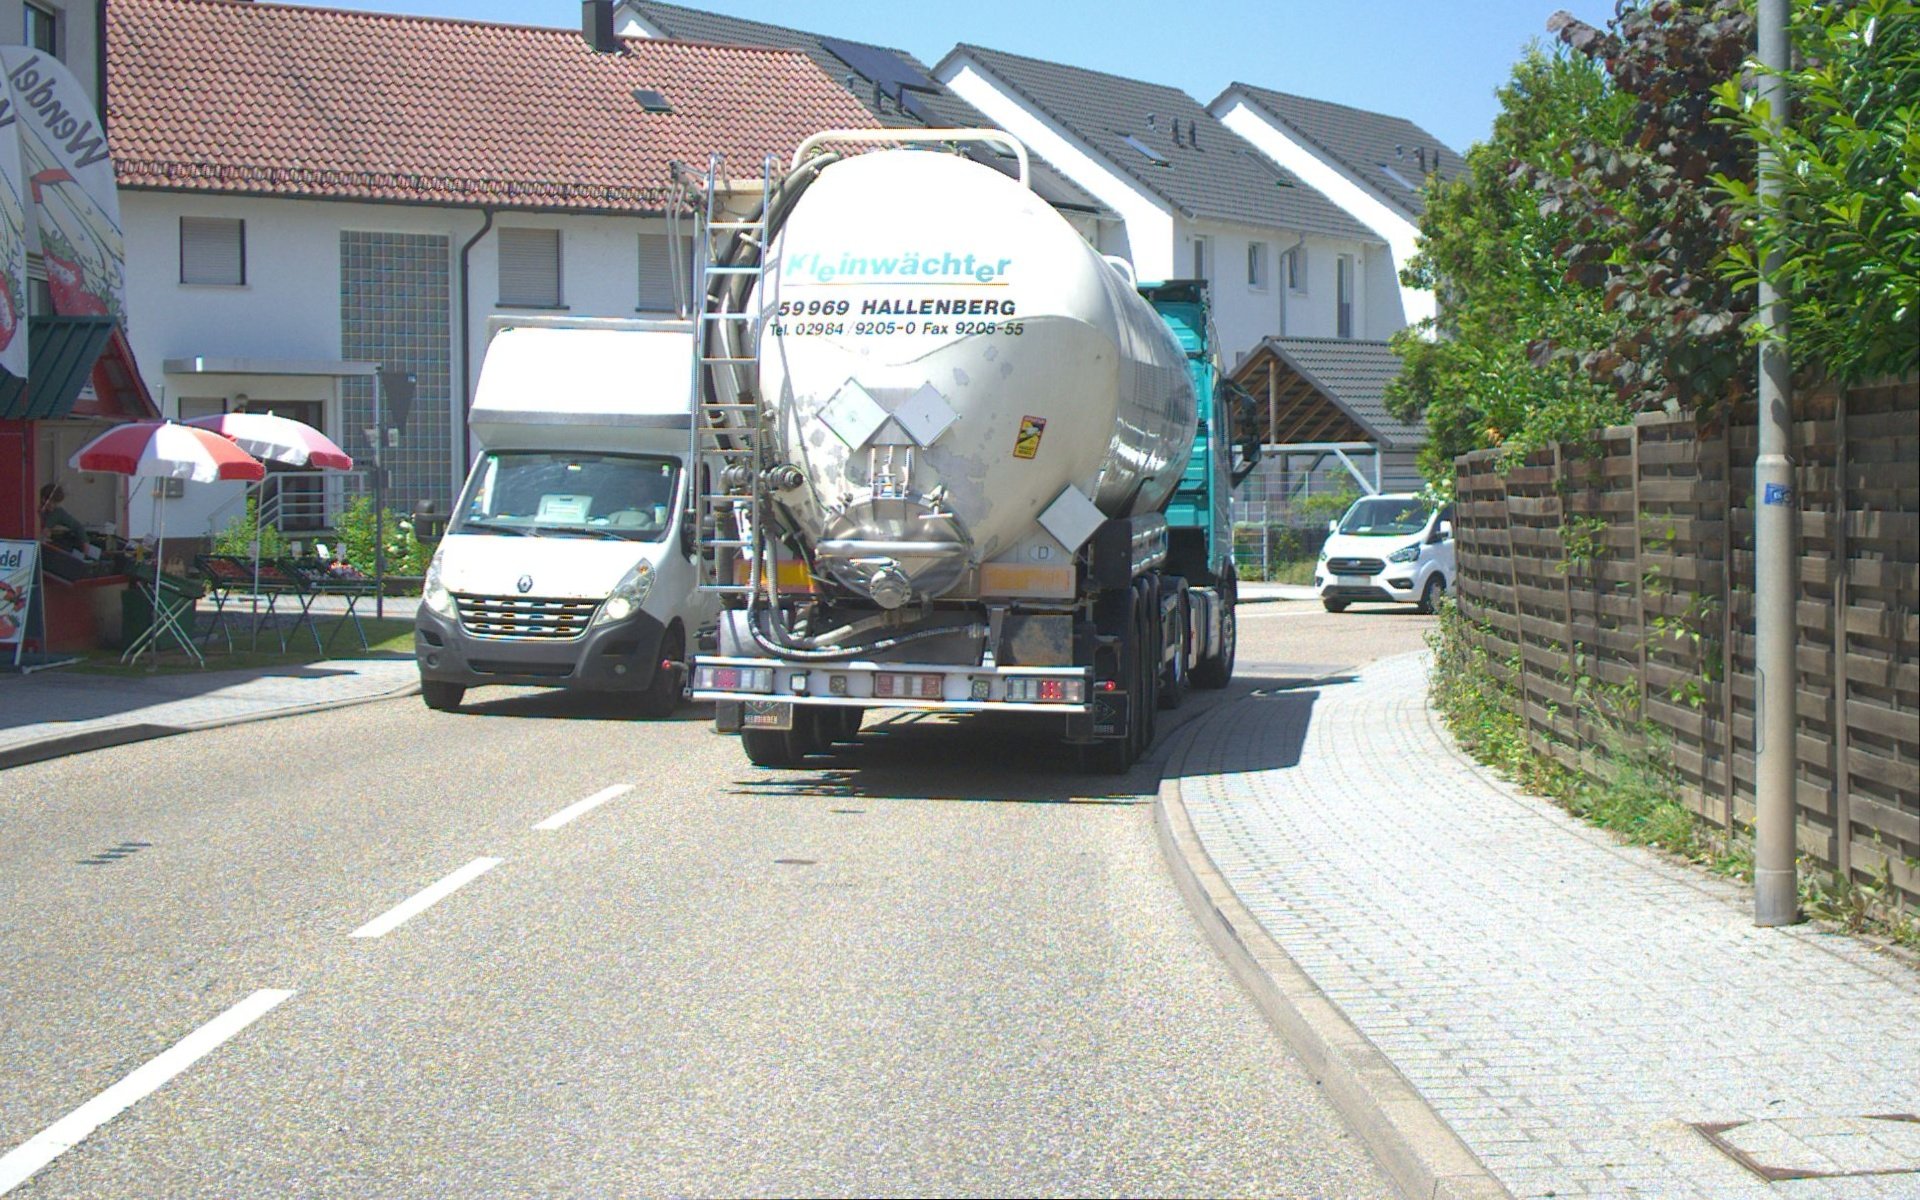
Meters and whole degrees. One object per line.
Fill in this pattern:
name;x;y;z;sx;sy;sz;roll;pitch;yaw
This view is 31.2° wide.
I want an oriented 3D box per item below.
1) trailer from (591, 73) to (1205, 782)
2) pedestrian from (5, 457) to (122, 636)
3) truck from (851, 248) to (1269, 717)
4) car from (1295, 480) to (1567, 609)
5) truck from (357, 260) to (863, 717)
trailer;0.051;-1.125;25.086;2.953;3.934;11.617;-1;2;6
pedestrian;-8.045;-0.482;30.861;0.612;1.582;0.807;1;2;33
truck;1.111;-1.108;32.956;2.989;3.951;5.577;-3;1;10
car;7.913;-0.978;57.349;1.998;1.992;5.202;4;4;39
truck;-2.781;-0.963;29.878;2.467;3.355;7.615;3;2;8
